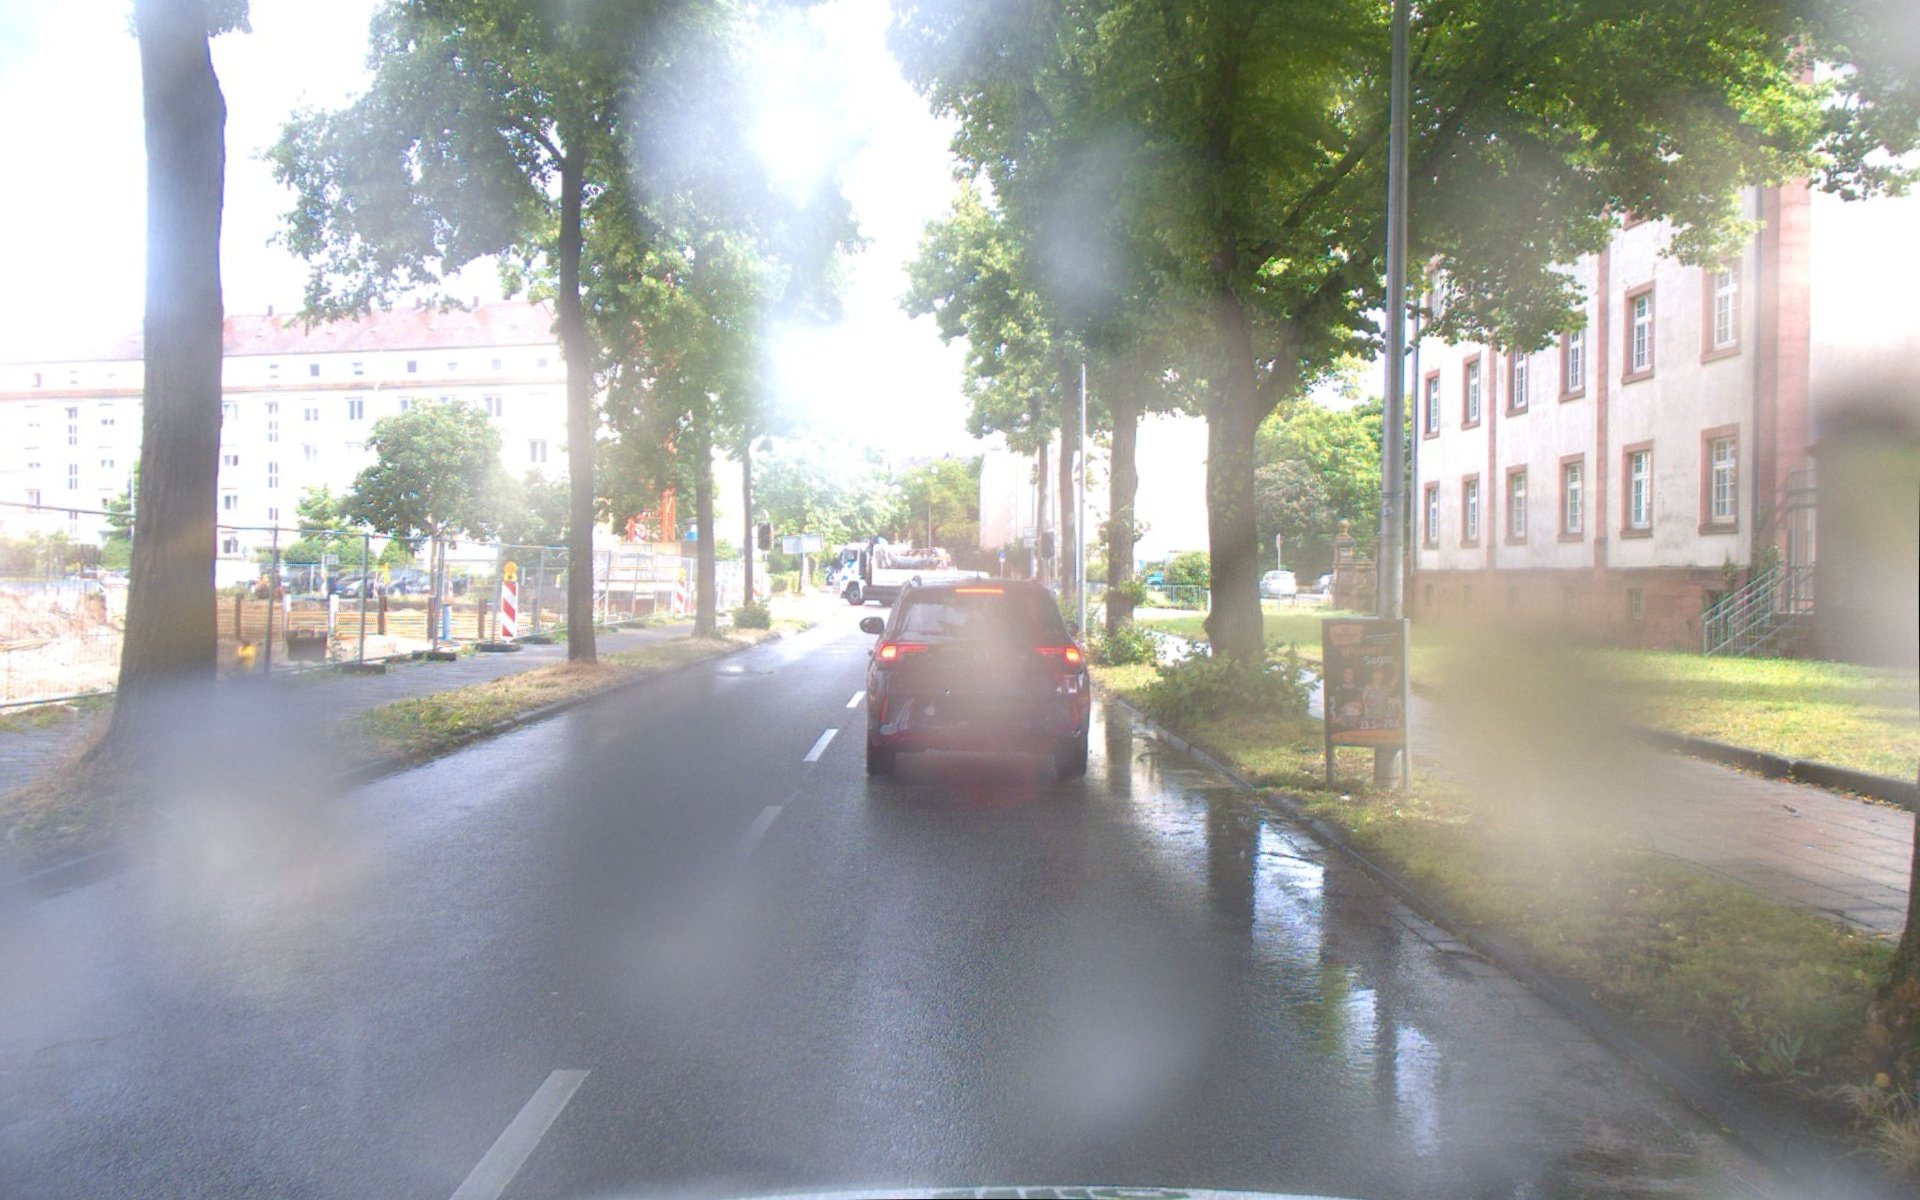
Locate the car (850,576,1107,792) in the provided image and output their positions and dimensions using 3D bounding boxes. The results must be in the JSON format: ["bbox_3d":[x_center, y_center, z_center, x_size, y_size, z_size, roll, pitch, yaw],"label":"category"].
[{"bbox_3d":[0.109,0.589,14.072,1.856,1.549,4.000,1,1,-1],"label":"car"}]

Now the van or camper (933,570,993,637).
[{"bbox_3d":[0.133,0.059,52.038,1.782,1.981,4.196,1,1,1],"label":"van or camper"}]

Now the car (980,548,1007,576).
[{"bbox_3d":[2.523,-2.878,125.587,1.953,2.049,4.000,2,0,0],"label":"car"}]

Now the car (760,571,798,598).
[{"bbox_3d":[-11.311,-0.984,103.530,1.557,1.538,3.734,-3,1,5],"label":"car"}]

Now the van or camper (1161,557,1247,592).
[{"bbox_3d":[14.365,-1.494,97.532,4.775,1.959,2.131,1,2,0],"label":"van or camper"}]

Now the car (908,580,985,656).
[{"bbox_3d":[-0.284,0.425,41.202,1.645,1.738,3.911,-2,0,3],"label":"car"}]

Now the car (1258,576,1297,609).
[{"bbox_3d":[17.939,-0.431,93.550,1.706,1.713,3.873,-3,1,6],"label":"car"}]

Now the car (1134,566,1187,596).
[{"bbox_3d":[13.047,-1.243,107.561,3.334,1.812,1.761,-3,1,8],"label":"car"}]

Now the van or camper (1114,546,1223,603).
[{"bbox_3d":[10.053,-1.235,79.984,4.931,2.641,2.167,0,1,-2],"label":"van or camper"}]

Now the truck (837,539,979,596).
[{"bbox_3d":[-2.700,-1.661,82.983,2.787,2.702,8.125,-1,2,-39],"label":"truck"}]
